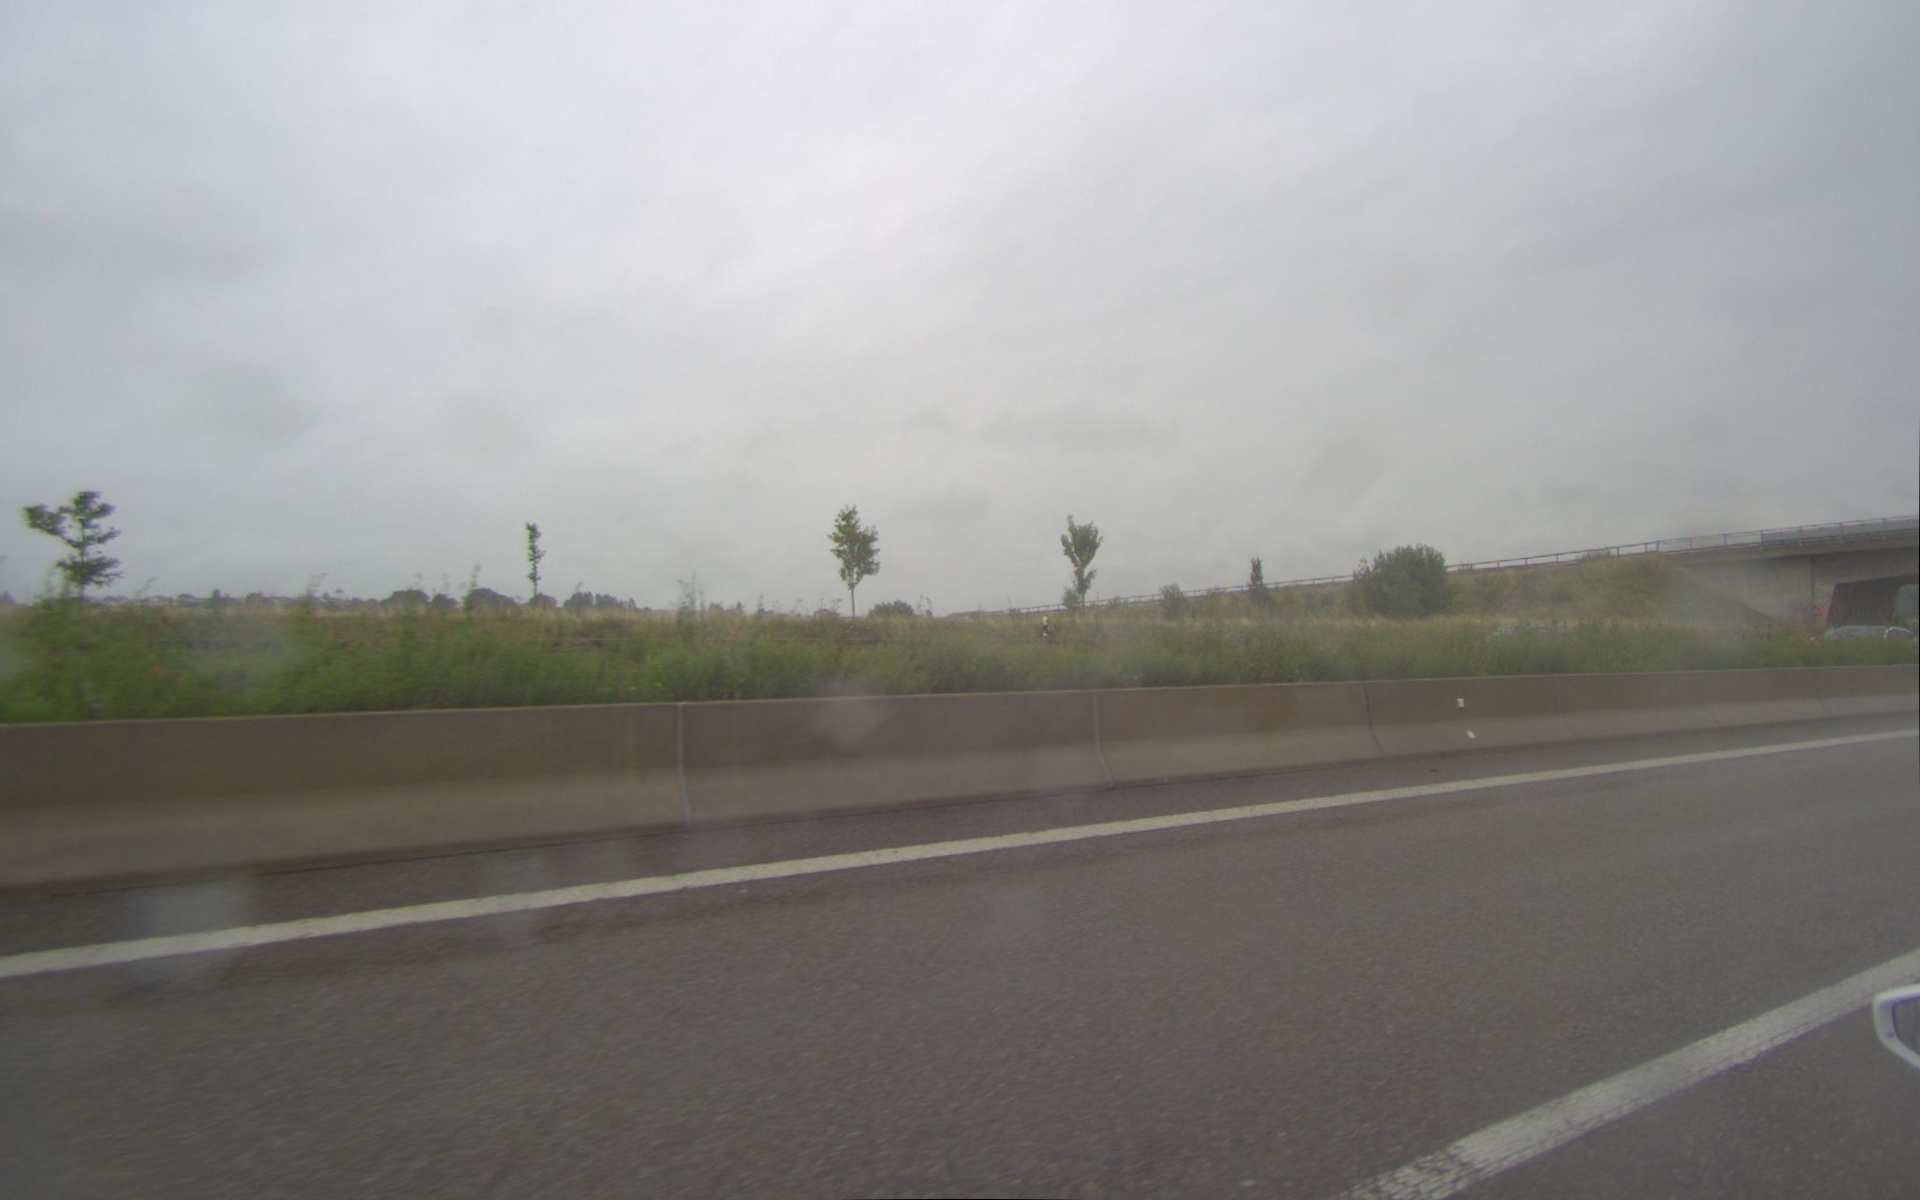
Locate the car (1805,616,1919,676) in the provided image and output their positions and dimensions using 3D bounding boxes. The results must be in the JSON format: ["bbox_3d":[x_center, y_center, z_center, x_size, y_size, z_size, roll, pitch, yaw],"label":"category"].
[{"bbox_3d":[26.580,1.359,29.402,3.891,1.639,1.573,2,-1,-30],"label":"car"}]
